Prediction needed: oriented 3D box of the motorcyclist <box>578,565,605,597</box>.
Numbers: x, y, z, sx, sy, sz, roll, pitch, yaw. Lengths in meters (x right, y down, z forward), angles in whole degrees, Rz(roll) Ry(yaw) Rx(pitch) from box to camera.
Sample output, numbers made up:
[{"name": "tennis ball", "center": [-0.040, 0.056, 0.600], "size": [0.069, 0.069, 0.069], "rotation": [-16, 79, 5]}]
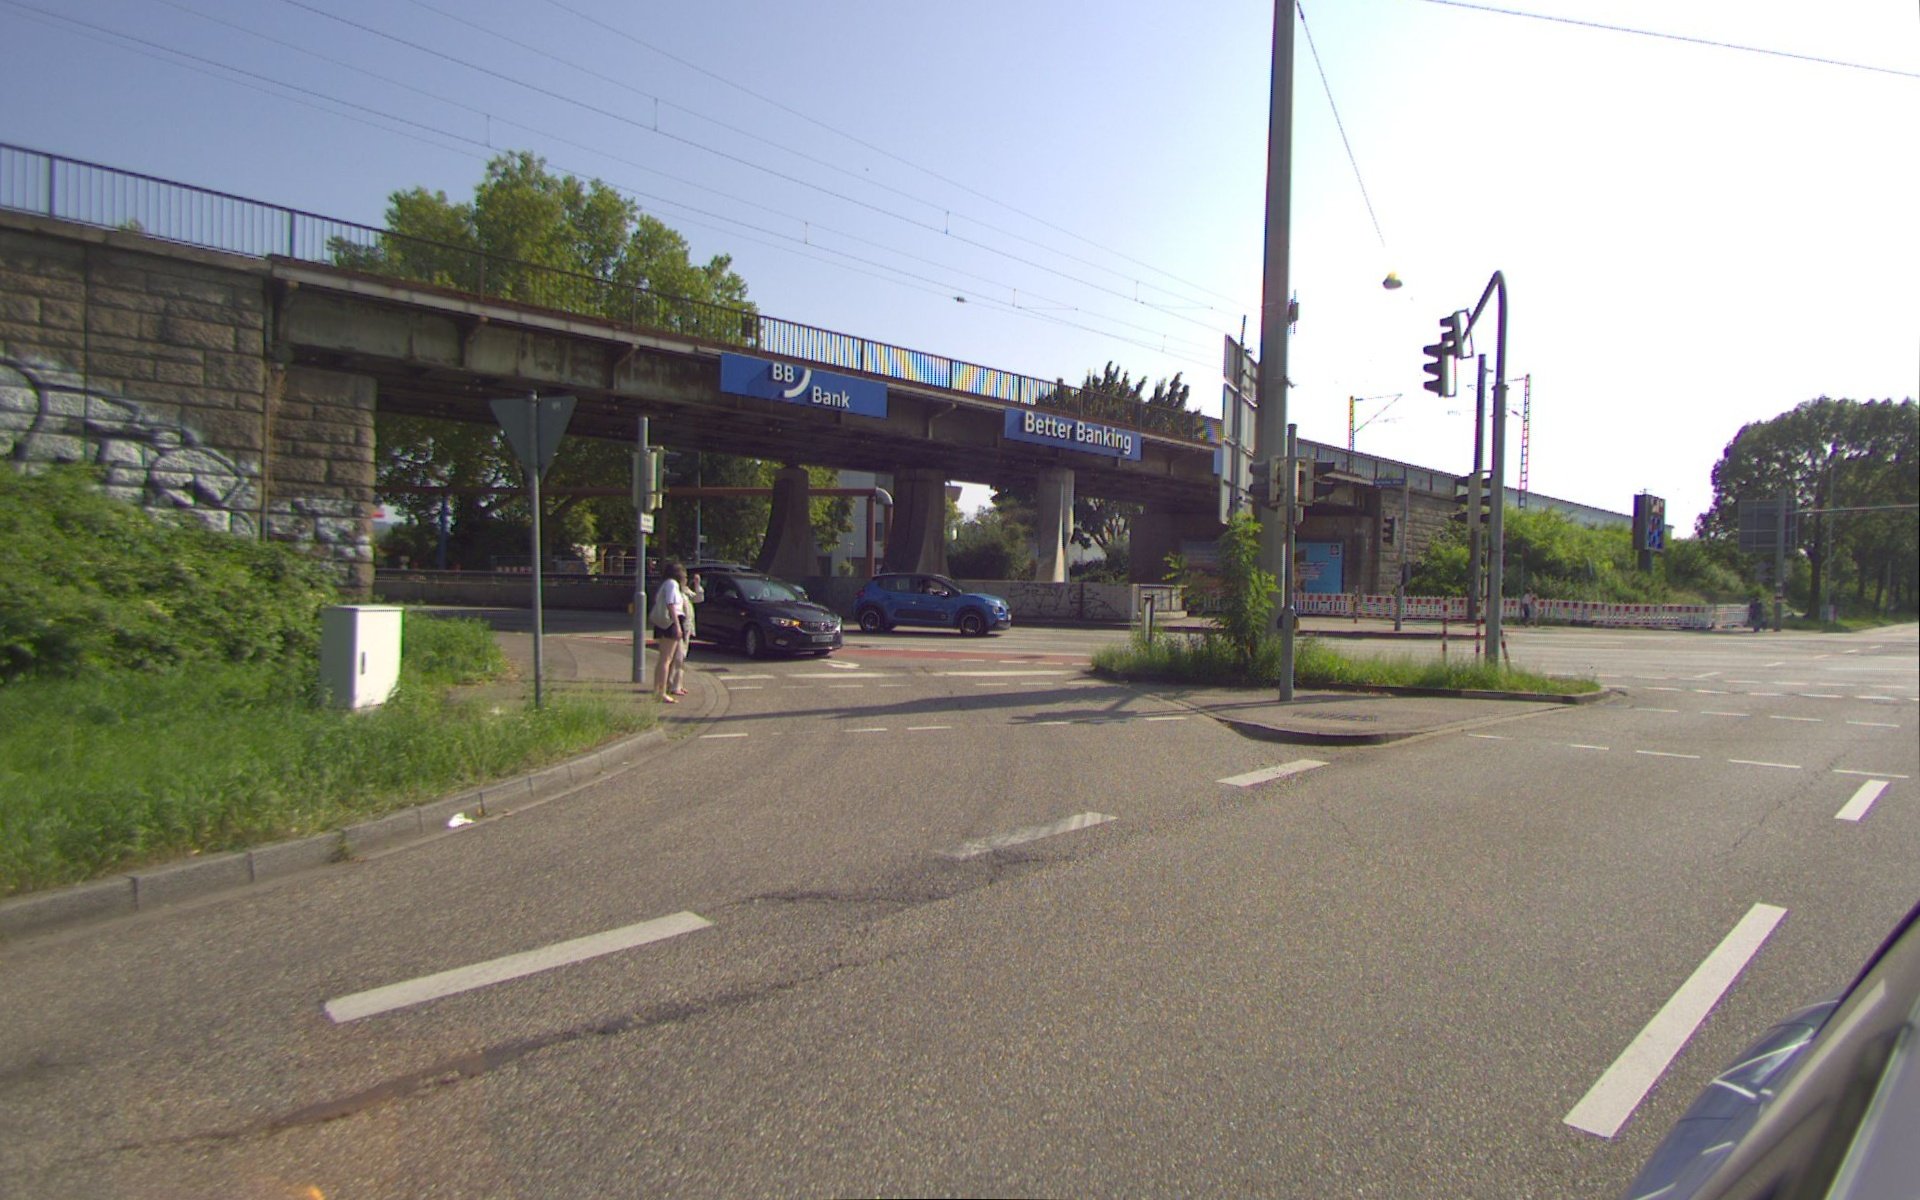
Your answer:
[{"name": "motorcyclist", "center": [-16.998, -0.896, 46.687], "size": [0.926, 1.449, 0.740], "rotation": [2, 1, 13]}]

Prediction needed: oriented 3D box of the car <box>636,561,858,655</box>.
[{"name": "car", "center": [-4.059, 0.080, 18.982], "size": [4.172, 1.552, 1.845], "rotation": [2, 2, 38]}]

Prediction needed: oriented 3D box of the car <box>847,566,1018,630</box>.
[{"name": "car", "center": [-0.642, -0.077, 24.886], "size": [3.939, 1.470, 1.612], "rotation": [1, 1, 13]}]

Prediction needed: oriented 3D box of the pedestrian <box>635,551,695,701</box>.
[{"name": "pedestrian", "center": [-3.458, 0.289, 11.880], "size": [0.483, 1.702, 0.571], "rotation": [2, 1, 1]}]

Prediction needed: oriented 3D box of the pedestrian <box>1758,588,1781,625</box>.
[{"name": "pedestrian", "center": [35.696, 0.263, 44.617], "size": [0.747, 1.593, 0.649], "rotation": [-1, 3, -44]}]

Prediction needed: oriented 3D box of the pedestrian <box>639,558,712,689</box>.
[{"name": "pedestrian", "center": [-3.608, 0.292, 12.848], "size": [0.564, 1.586, 0.534], "rotation": [5, 0, 15]}]

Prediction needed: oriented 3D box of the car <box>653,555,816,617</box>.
[{"name": "car", "center": [-6.447, -0.422, 29.074], "size": [4.156, 1.638, 2.002], "rotation": [1, 1, 15]}]

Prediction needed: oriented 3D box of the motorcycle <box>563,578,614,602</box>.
[{"name": "motorcycle", "center": [-17.133, -0.486, 46.721], "size": [2.134, 1.034, 0.752], "rotation": [2, 1, 14]}]

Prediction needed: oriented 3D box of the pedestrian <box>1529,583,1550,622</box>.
[{"name": "pedestrian", "center": [24.397, 0.101, 42.596], "size": [0.625, 1.594, 0.489], "rotation": [0, 1, 11]}]
